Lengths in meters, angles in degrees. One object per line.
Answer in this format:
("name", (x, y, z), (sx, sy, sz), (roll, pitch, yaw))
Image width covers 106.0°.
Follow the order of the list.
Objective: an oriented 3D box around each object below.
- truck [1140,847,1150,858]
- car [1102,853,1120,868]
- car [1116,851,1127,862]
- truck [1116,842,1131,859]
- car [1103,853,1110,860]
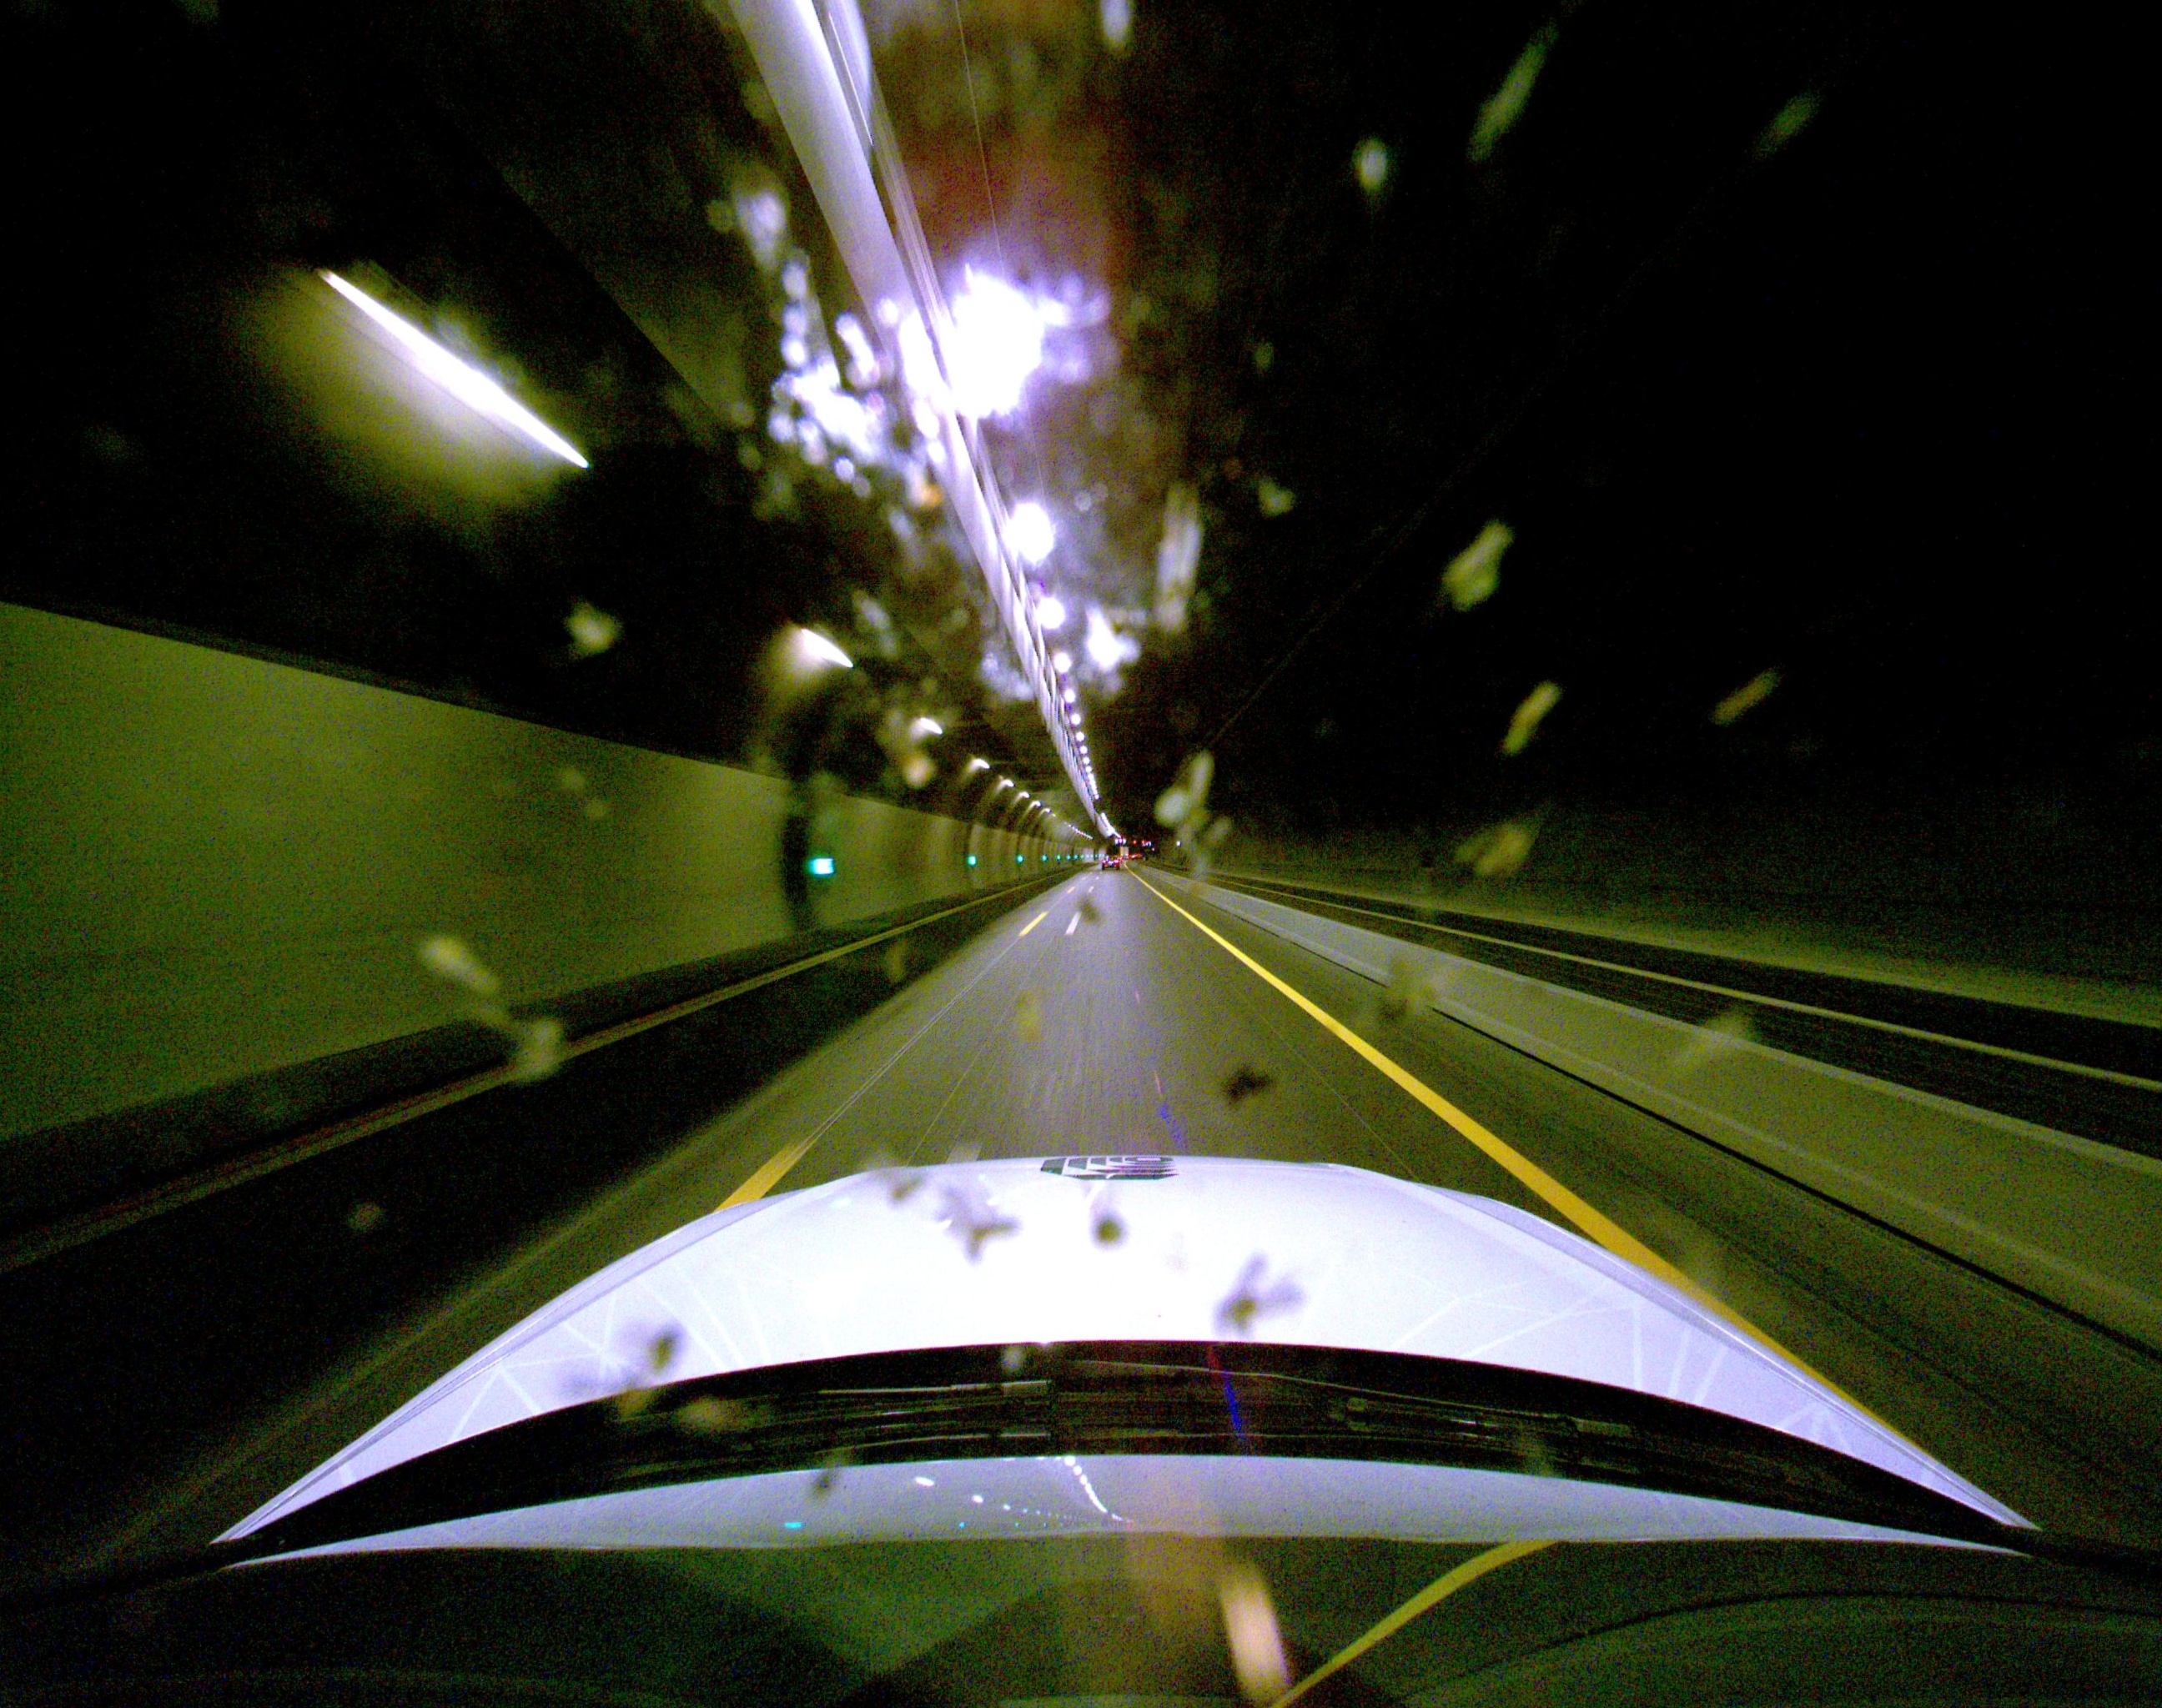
("truck", (20.528, -0.468, 261.945), (2.879, 3.272, 8.410), (-1, 0, 4))
("car", (3.214, 0.707, 87.089), (1.881, 1.607, 4.001), (-1, 0, 1))
("car", (7.848, 0.481, 157.231), (1.986, 2.013, 4.002), (-1, 0, 2))
("truck", (13.784, -1.069, 261.201), (4.526, 4.987, 9.608), (-1, -1, 4))
("car", (6.586, 0.674, 211.629), (1.820, 1.607, 4.001), (-1, 0, 1))
